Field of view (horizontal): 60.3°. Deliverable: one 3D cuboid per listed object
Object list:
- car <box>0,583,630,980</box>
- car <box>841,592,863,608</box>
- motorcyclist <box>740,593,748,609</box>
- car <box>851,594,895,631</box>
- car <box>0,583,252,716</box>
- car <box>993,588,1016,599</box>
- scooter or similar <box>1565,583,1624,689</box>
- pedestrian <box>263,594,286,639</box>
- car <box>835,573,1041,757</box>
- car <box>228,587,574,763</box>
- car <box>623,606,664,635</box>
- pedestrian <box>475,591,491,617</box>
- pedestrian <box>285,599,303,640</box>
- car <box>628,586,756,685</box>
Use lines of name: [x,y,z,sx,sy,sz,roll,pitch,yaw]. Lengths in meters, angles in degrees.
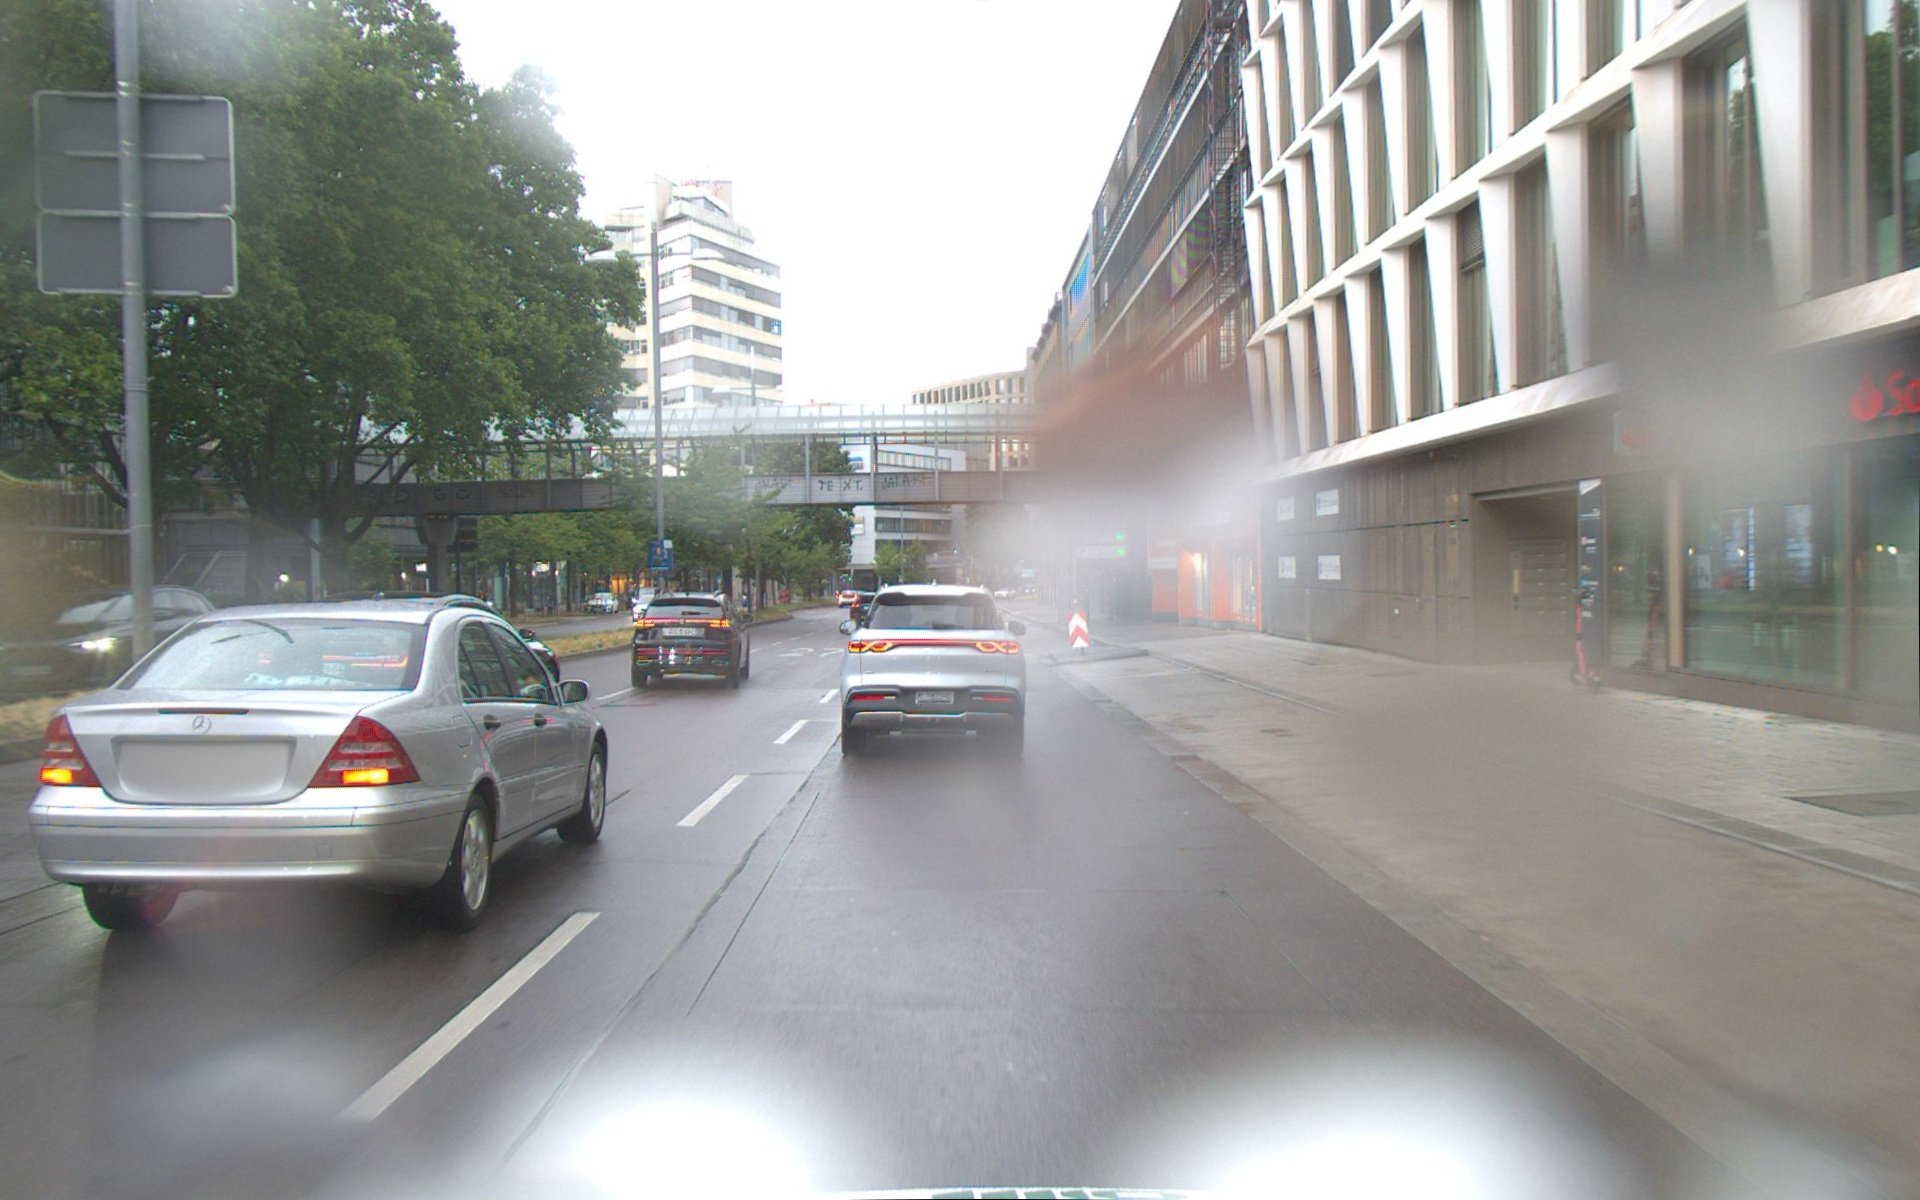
car: [-2.921,0.718,8.479,1.638,1.505,4.359,0,-1,-1]
car: [-9.509,-0.025,145.813,1.619,1.365,4.001,0,0,1]
motorcyclist: [-20.185,0.085,154.700,0.625,1.443,0.970,-1,-1,-1]
car: [-3.928,0.558,75.176,1.774,1.606,4.000,0,0,0]
car: [-12.104,0.663,23.825,1.836,1.710,4.680,-1,0,-1]
car: [6.436,-0.905,239.044,1.551,1.565,3.993,0,0,29]
scooter or similar: [7.804,0.425,20.365,0.403,1.258,1.190,0,0,8]
pedestrian: [-28.613,0.674,69.052,0.708,1.839,0.617,-1,0,-1]
car: [-0.227,0.599,17.151,1.862,1.650,3.999,1,0,-1]
car: [-5.479,0.646,16.960,1.834,1.505,4.878,-1,0,0]
car: [-17.761,1.140,92.985,1.629,1.489,4.079,-3,0,-3]
pedestrian: [-31.929,0.263,110.733,0.728,1.745,1.056,-1,0,-2]
pedestrian: [-27.805,0.805,69.066,0.548,1.715,0.511,-1,0,-1]
car: [-4.364,0.556,27.434,1.739,1.482,3.996,-1,0,-4]
